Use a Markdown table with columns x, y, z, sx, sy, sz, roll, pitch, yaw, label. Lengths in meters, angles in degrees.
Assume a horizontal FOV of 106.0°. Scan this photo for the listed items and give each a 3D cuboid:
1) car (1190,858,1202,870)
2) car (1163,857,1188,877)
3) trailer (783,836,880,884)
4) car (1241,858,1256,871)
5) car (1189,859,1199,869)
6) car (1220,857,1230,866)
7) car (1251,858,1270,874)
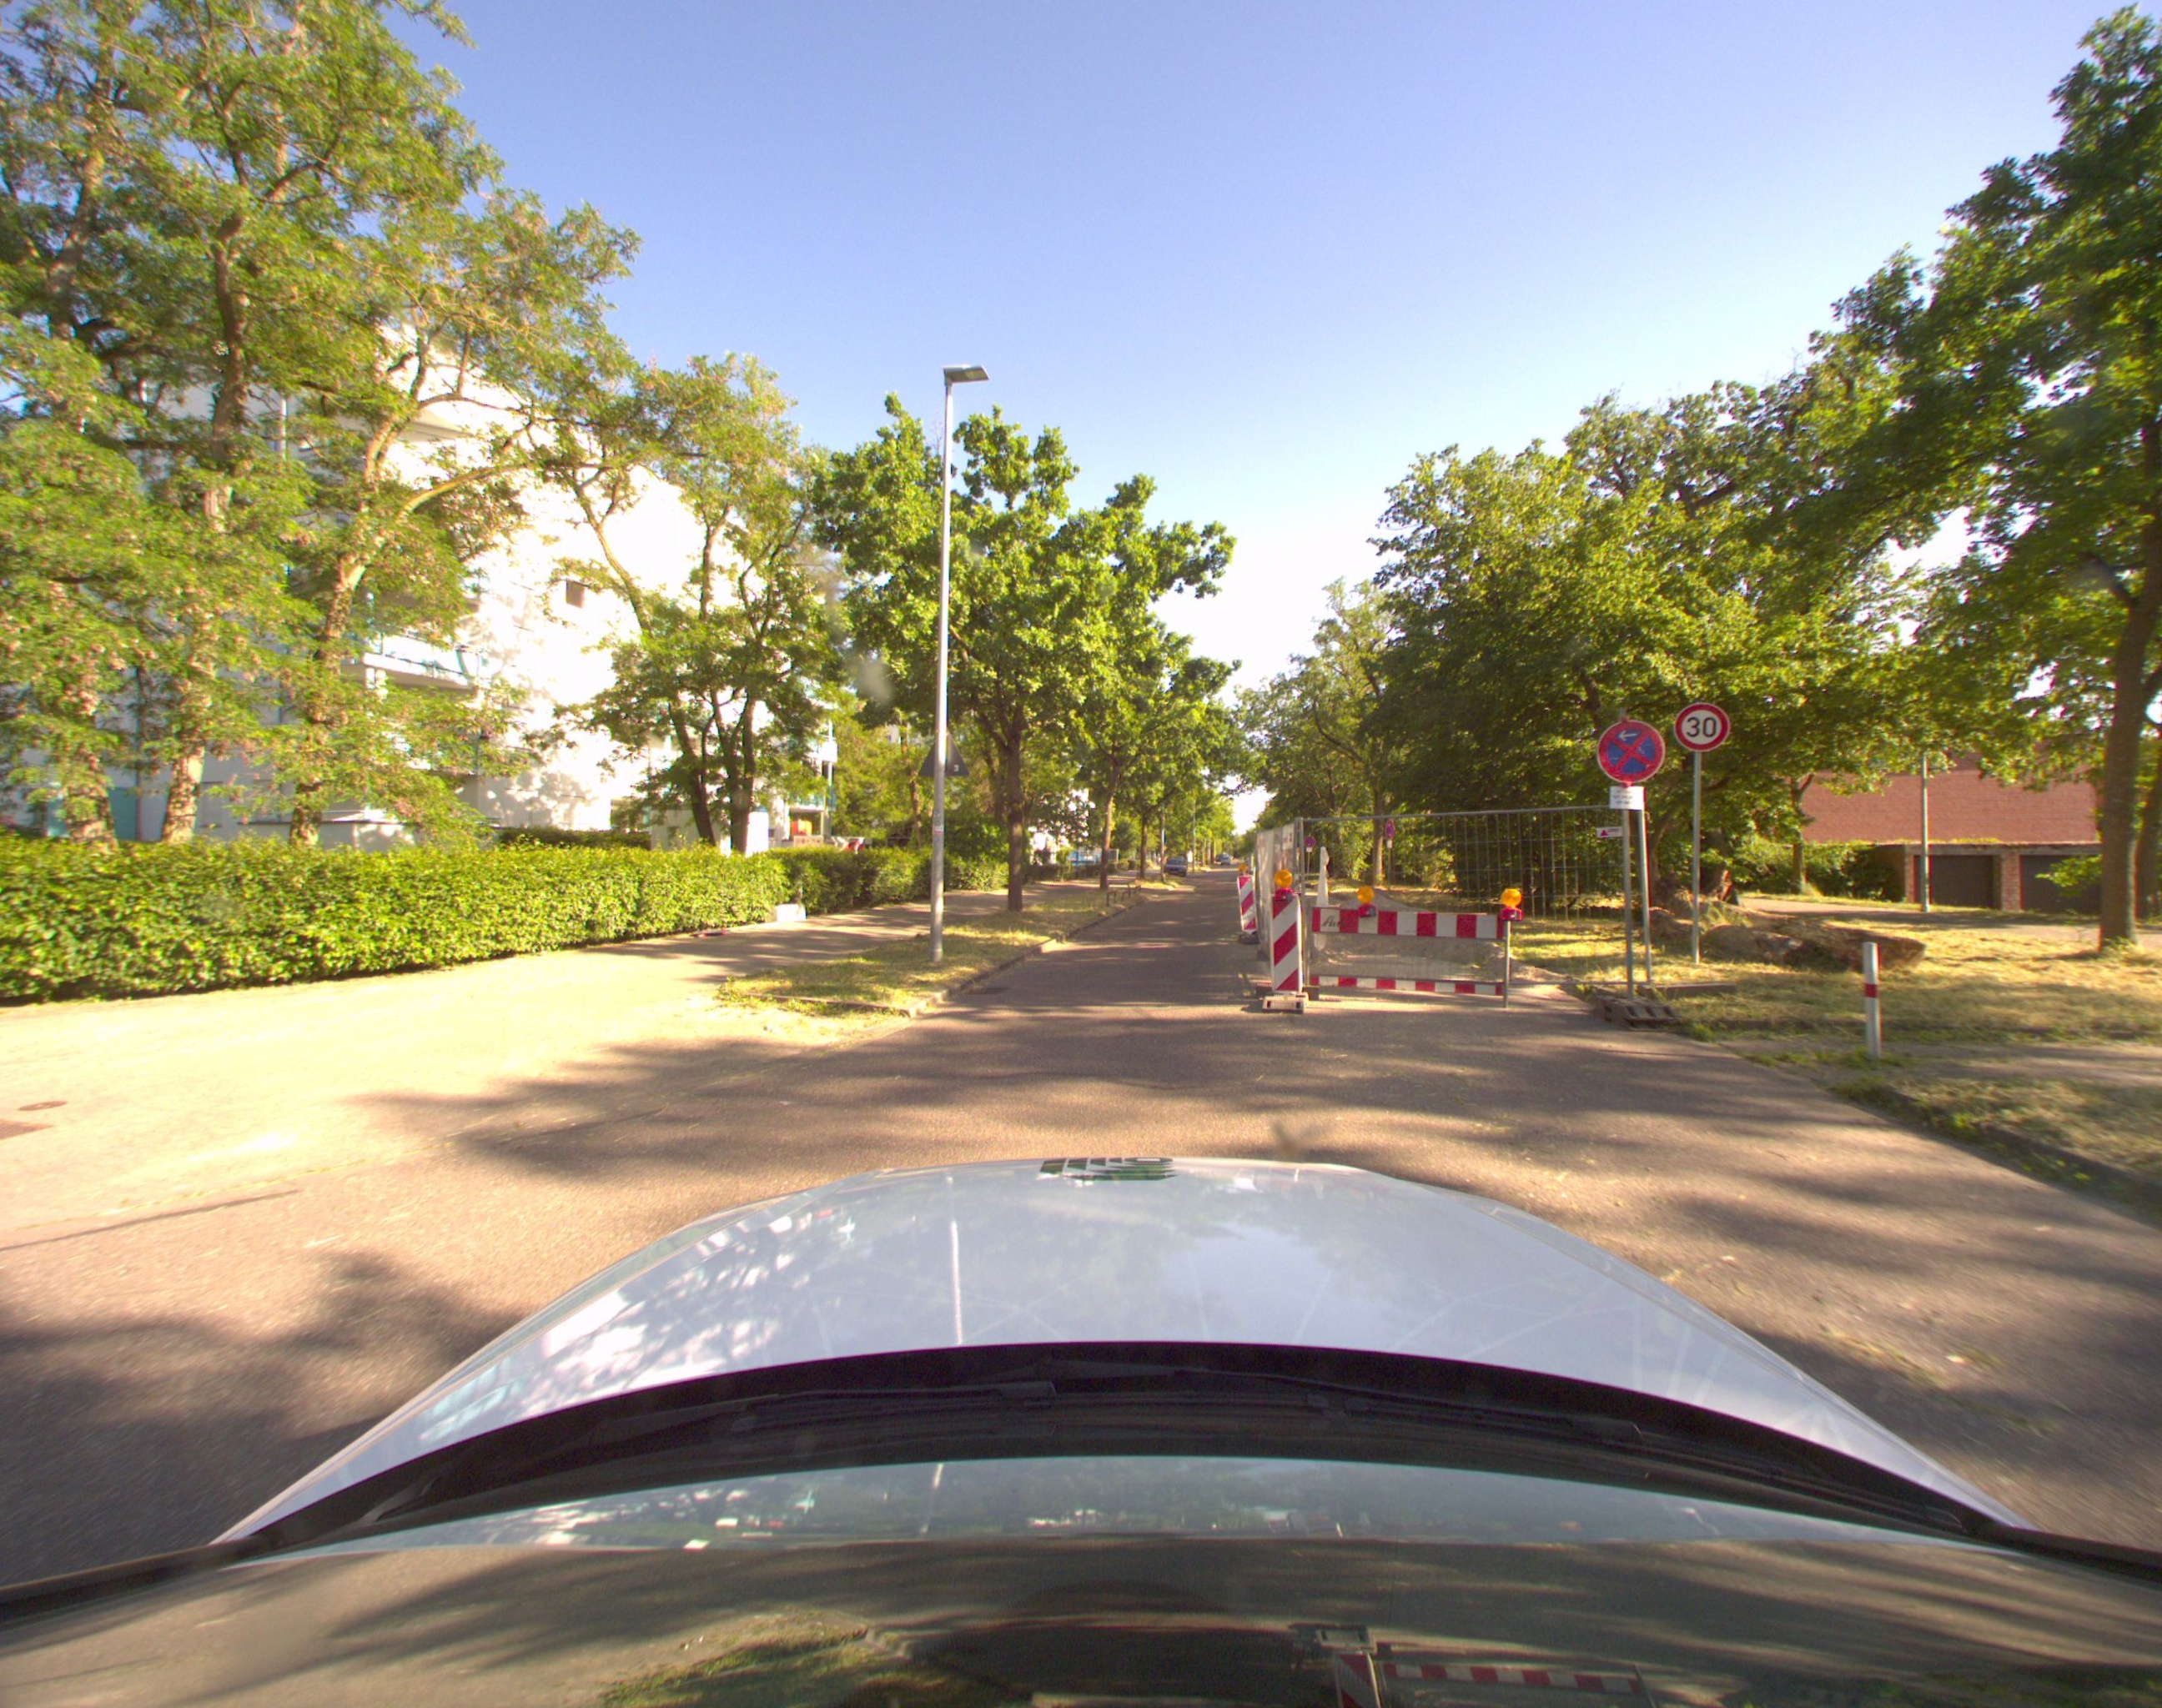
| x | y | z | sx | sy | sz | roll | pitch | yaw | label |
| --- | --- | --- | --- | --- | --- | --- | --- | --- | --- |
| 13.858 | 1.225 | 98.126 | 1.353 | 1.302 | 3.489 | 1 | -1 | 9 | car |
| 7.382 | 0.981 | 63.360 | 1.740 | 1.478 | 3.846 | 0 | 0 | 10 | car |
| -11.157 | 0.270 | 36.756 | 1.961 | 2.043 | 4.450 | 0 | 0 | 18 | trailer |
| 17.369 | 1.121 | 84.709 | 1.353 | 1.302 | 3.489 | 1 | -1 | 9 | car |
| 15.253 | 1.420 | 109.824 | 1.353 | 1.302 | 3.489 | 1 | -1 | 9 | car |
| 27.602 | 1.411 | 156.543 | 1.701 | 1.585 | 4.008 | 1 | -1 | 7 | car |
| 15.797 | 1.045 | 71.778 | 1.353 | 1.302 | 3.489 | 1 | -1 | 9 | car |
